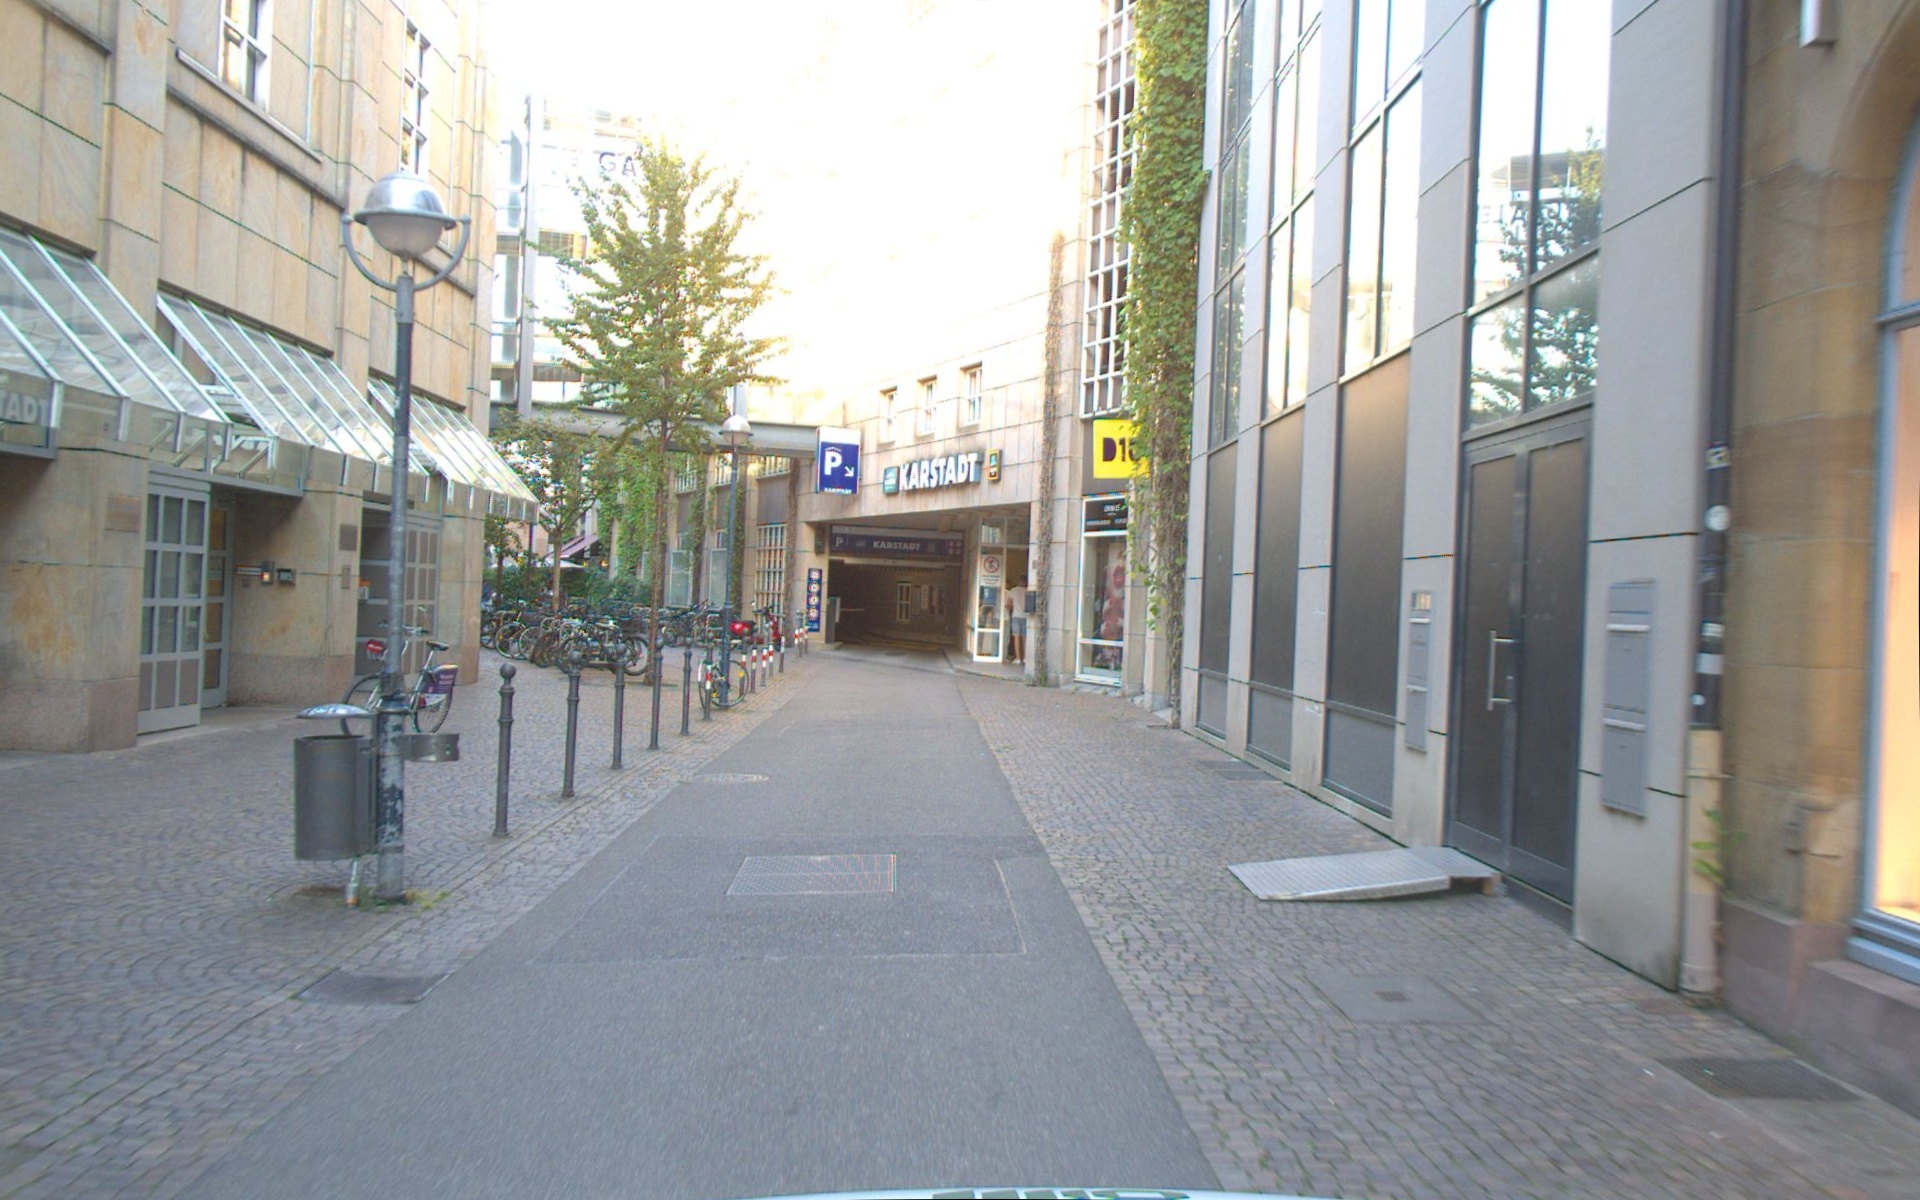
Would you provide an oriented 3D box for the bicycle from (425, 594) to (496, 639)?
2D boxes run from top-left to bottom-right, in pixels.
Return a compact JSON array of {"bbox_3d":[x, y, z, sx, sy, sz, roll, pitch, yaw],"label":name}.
[{"bbox_3d":[-14.163,0.466,46.872,1.884,1.203,0.692,2,0,-19],"label":"bicycle"}]

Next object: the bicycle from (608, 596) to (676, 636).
[{"bbox_3d":[-9.832,0.487,51.153,1.966,1.203,0.689,0,0,-22],"label":"bicycle"}]

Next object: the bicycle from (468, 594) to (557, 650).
[{"bbox_3d":[-10.185,0.504,37.604,1.884,1.203,0.692,2,0,-19],"label":"bicycle"}]

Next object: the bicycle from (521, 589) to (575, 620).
[{"bbox_3d":[-16.015,0.180,64.235,1.966,1.203,0.689,0,0,-22],"label":"bicycle"}]

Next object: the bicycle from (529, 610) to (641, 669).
[{"bbox_3d":[-6.863,0.721,30.294,1.886,1.011,0.691,2,0,-22],"label":"bicycle"}]

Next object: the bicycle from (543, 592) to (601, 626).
[{"bbox_3d":[-14.020,0.330,59.824,1.966,1.203,0.689,0,0,-22],"label":"bicycle"}]

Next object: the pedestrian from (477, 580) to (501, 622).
[{"bbox_3d":[-17.597,0.047,61.793,0.738,1.536,0.633,2,0,-24],"label":"pedestrian"}]

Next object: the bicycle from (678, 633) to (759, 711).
[{"bbox_3d":[-3.286,0.963,22.673,0.494,0.983,1.696,2,0,13],"label":"bicycle"}]

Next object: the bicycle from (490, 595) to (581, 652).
[{"bbox_3d":[-9.462,0.534,36.894,1.884,1.203,0.692,2,0,-19],"label":"bicycle"}]

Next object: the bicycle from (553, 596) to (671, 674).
[{"bbox_3d":[-6.087,0.612,28.912,1.886,1.283,0.803,2,0,-22],"label":"bicycle"}]

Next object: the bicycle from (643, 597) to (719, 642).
[{"bbox_3d":[-7.696,0.528,45.600,1.966,1.203,0.797,0,0,-22],"label":"bicycle"}]

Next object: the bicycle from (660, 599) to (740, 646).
[{"bbox_3d":[-6.855,0.580,43.618,1.966,1.203,0.691,0,0,-22],"label":"bicycle"}]

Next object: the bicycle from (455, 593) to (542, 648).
[{"bbox_3d":[-10.775,0.477,38.623,1.884,1.203,0.692,2,0,-19],"label":"bicycle"}]

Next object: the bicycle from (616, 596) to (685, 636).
[{"bbox_3d":[-9.360,0.480,50.098,1.966,1.203,0.689,0,0,-22],"label":"bicycle"}]

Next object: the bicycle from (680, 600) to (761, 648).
[{"bbox_3d":[-6.197,0.619,42.785,1.966,1.203,0.691,0,0,-22],"label":"bicycle"}]

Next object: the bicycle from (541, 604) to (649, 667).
[{"bbox_3d":[-6.889,0.672,31.213,1.886,1.121,0.691,2,0,-22],"label":"bicycle"}]

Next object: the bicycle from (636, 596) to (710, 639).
[{"bbox_3d":[-8.173,0.494,47.036,1.966,1.203,0.797,0,0,-22],"label":"bicycle"}]

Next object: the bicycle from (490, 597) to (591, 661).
[{"bbox_3d":[-8.428,0.585,33.240,1.884,1.203,0.692,2,0,-19],"label":"bicycle"}]

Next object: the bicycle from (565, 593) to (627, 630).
[{"bbox_3d":[-12.156,0.379,55.238,1.966,1.203,0.689,0,0,-22],"label":"bicycle"}]

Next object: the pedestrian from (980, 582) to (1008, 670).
[{"bbox_3d":[0.742,0.564,36.134,0.531,1.879,0.408,2,1,4],"label":"pedestrian"}]

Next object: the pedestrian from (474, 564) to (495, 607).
[{"bbox_3d":[-20.783,-0.622,72.230,0.755,1.836,0.771,2,0,-23],"label":"pedestrian"}]

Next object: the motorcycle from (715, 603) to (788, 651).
[{"bbox_3d":[-5.195,0.675,41.149,1.719,1.175,0.591,0,0,-19],"label":"motorcycle"}]

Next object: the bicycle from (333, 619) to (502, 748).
[{"bbox_3d":[-5.115,0.757,15.731,0.679,1.131,1.778,2,0,13],"label":"bicycle"}]

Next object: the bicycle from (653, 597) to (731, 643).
[{"bbox_3d":[-7.216,0.528,44.485,1.966,1.203,0.797,0,0,-22],"label":"bicycle"}]

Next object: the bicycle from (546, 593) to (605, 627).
[{"bbox_3d":[-13.724,0.355,59.025,1.966,1.203,0.689,0,0,-22],"label":"bicycle"}]

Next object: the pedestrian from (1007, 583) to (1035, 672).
[{"bbox_3d":[1.325,0.591,35.921,0.531,1.894,0.408,2,1,4],"label":"pedestrian"}]

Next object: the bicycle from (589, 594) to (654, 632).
[{"bbox_3d":[-10.943,0.406,53.469,1.966,1.203,0.689,0,0,-22],"label":"bicycle"}]

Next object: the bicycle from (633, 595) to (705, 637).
[{"bbox_3d":[-8.459,0.468,48.013,1.966,1.203,0.689,0,0,-22],"label":"bicycle"}]

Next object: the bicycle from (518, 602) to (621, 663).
[{"bbox_3d":[-7.646,0.628,32.370,1.884,1.121,0.692,2,0,-19],"label":"bicycle"}]

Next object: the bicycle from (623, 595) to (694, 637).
[{"bbox_3d":[-8.906,0.474,48.878,1.966,1.203,0.689,0,0,-22],"label":"bicycle"}]
